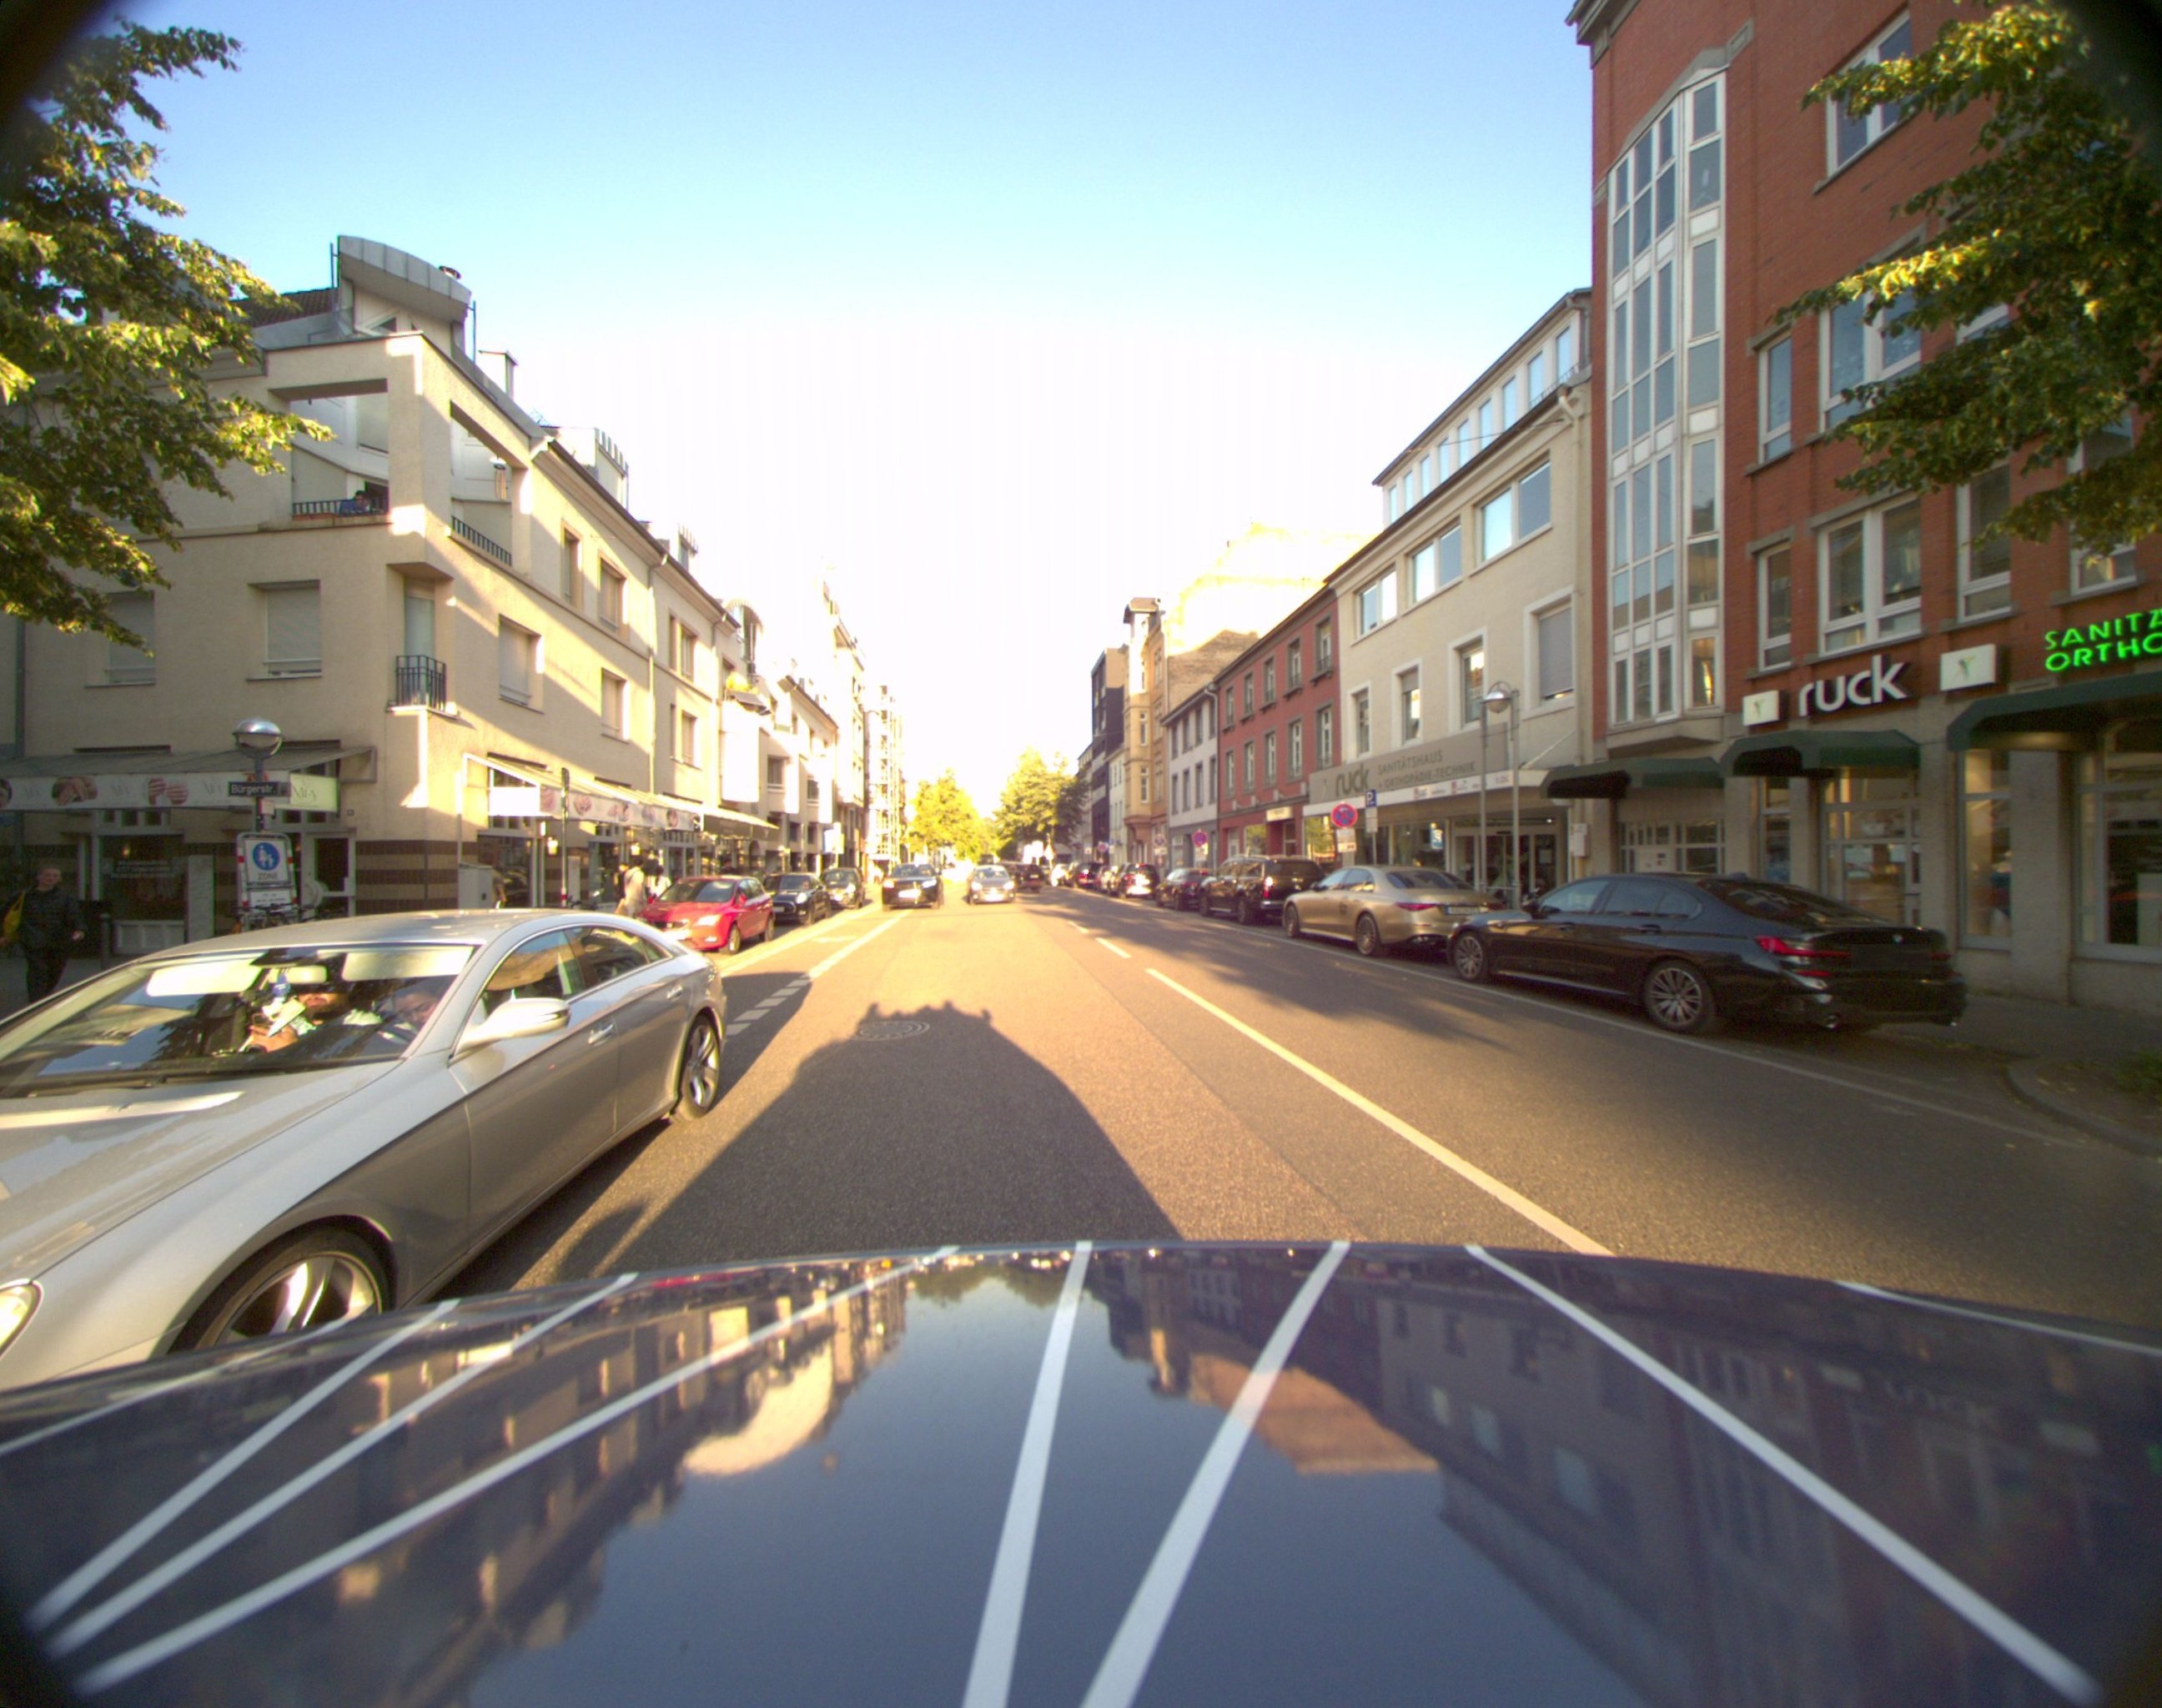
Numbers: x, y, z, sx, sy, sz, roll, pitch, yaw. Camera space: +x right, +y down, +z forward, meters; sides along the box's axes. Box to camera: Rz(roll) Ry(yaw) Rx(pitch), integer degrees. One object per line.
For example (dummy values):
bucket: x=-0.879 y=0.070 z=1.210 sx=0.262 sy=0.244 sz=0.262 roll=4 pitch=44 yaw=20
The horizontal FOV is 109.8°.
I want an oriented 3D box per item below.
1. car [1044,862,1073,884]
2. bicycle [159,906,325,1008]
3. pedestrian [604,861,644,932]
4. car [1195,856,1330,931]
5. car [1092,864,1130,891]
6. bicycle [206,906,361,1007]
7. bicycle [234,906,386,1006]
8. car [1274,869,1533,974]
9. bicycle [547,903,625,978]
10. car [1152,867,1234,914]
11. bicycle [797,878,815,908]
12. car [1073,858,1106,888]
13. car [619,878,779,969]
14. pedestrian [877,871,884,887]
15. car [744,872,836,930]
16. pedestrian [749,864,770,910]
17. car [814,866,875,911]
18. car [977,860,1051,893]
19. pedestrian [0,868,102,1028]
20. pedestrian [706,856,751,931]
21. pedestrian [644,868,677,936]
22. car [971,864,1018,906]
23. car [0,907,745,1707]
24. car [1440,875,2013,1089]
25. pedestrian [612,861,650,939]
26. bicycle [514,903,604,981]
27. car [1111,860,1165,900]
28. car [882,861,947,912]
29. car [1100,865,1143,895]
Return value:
car: x=-1.634 y=1.343 z=54.820 sx=1.674 sy=1.512 sz=3.562 roll=1 pitch=0 yaw=-8
bicycle: x=-11.094 y=1.311 z=10.142 sx=0.322 sy=1.098 sz=1.878 roll=-1 pitch=0 yaw=-7
pedestrian: x=-11.332 y=1.037 z=18.840 sx=0.631 sy=1.739 sz=0.669 roll=0 pitch=0 yaw=-8
car: x=4.652 y=0.965 z=20.357 sx=1.726 sy=1.768 sz=4.935 roll=1 pitch=-1 yaw=-9
car: x=1.693 y=1.331 z=44.081 sx=1.674 sy=1.448 sz=3.563 roll=2 pitch=-1 yaw=-6
bicycle: x=-10.608 y=1.311 z=10.203 sx=0.291 sy=1.098 sz=1.886 roll=-1 pitch=0 yaw=-7
bicycle: x=-10.303 y=1.311 z=10.244 sx=0.322 sy=1.098 sz=1.878 roll=-1 pitch=0 yaw=-7
car: x=5.331 y=1.034 z=13.526 sx=2.000 sy=1.463 sz=5.104 roll=1 pitch=-1 yaw=-6
bicycle: x=-8.019 y=1.369 z=12.365 sx=0.315 sy=1.040 sz=1.664 roll=0 pitch=0 yaw=-5
car: x=3.813 y=1.223 z=26.497 sx=1.707 sy=1.429 sz=4.011 roll=2 pitch=-1 yaw=-8
bicycle: x=-10.628 y=1.512 z=29.368 sx=0.296 sy=1.079 sz=1.462 roll=-1 pitch=0 yaw=-7
car: x=0.490 y=1.148 z=47.908 sx=1.674 sy=1.763 sz=3.563 roll=2 pitch=-1 yaw=-6
car: x=-7.199 y=1.222 z=14.737 sx=1.594 sy=1.425 sz=3.923 roll=1 pitch=0 yaw=-8
pedestrian: x=-16.105 y=1.979 z=61.032 sx=0.492 sy=1.256 sz=0.421 roll=-2 pitch=1 yaw=-7
car: x=-8.192 y=1.273 z=21.737 sx=1.622 sy=1.425 sz=3.923 roll=0 pitch=0 yaw=-8
pedestrian: x=-12.740 y=1.297 z=30.124 sx=0.576 sy=1.789 sz=0.450 roll=-2 pitch=1 yaw=-7
car: x=-9.021 y=1.266 z=29.222 sx=1.622 sy=1.583 sz=3.923 roll=-1 pitch=0 yaw=-8
car: x=-3.675 y=1.150 z=40.906 sx=1.739 sy=1.665 sz=4.283 roll=0 pitch=0 yaw=-42
pedestrian: x=-11.635 y=1.005 z=8.500 sx=0.795 sy=1.666 sz=0.704 roll=2 pitch=1 yaw=28
pedestrian: x=-9.164 y=1.007 z=19.796 sx=0.779 sy=1.872 sz=0.669 roll=-4 pitch=1 yaw=-8
pedestrian: x=-9.962 y=1.128 z=18.002 sx=0.521 sy=1.583 sz=0.408 roll=2 pitch=0 yaw=-8
car: x=-3.380 y=1.145 z=29.365 sx=1.623 sy=1.465 sz=3.686 roll=-2 pitch=0 yaw=-8
car: x=-3.035 y=1.104 z=3.139 sx=1.748 sy=1.392 sz=4.636 roll=-3 pitch=0 yaw=-8
car: x=5.890 y=1.018 z=7.888 sx=1.726 sy=1.464 sz=4.538 roll=2 pitch=-1 yaw=-7
pedestrian: x=-10.354 y=1.049 z=17.490 sx=0.545 sy=1.748 sz=0.502 roll=2 pitch=0 yaw=-8
bicycle: x=-8.364 y=1.370 z=12.260 sx=0.315 sy=1.040 sz=1.881 roll=0 pitch=0 yaw=-5
car: x=2.546 y=1.145 z=34.953 sx=1.726 sy=1.673 sz=4.047 roll=2 pitch=-1 yaw=-6
car: x=-5.944 y=1.111 z=27.493 sx=1.891 sy=1.626 sz=4.224 roll=-2 pitch=0 yaw=-8
car: x=2.082 y=1.323 z=40.018 sx=1.690 sy=1.461 sz=3.689 roll=2 pitch=-1 yaw=-6
